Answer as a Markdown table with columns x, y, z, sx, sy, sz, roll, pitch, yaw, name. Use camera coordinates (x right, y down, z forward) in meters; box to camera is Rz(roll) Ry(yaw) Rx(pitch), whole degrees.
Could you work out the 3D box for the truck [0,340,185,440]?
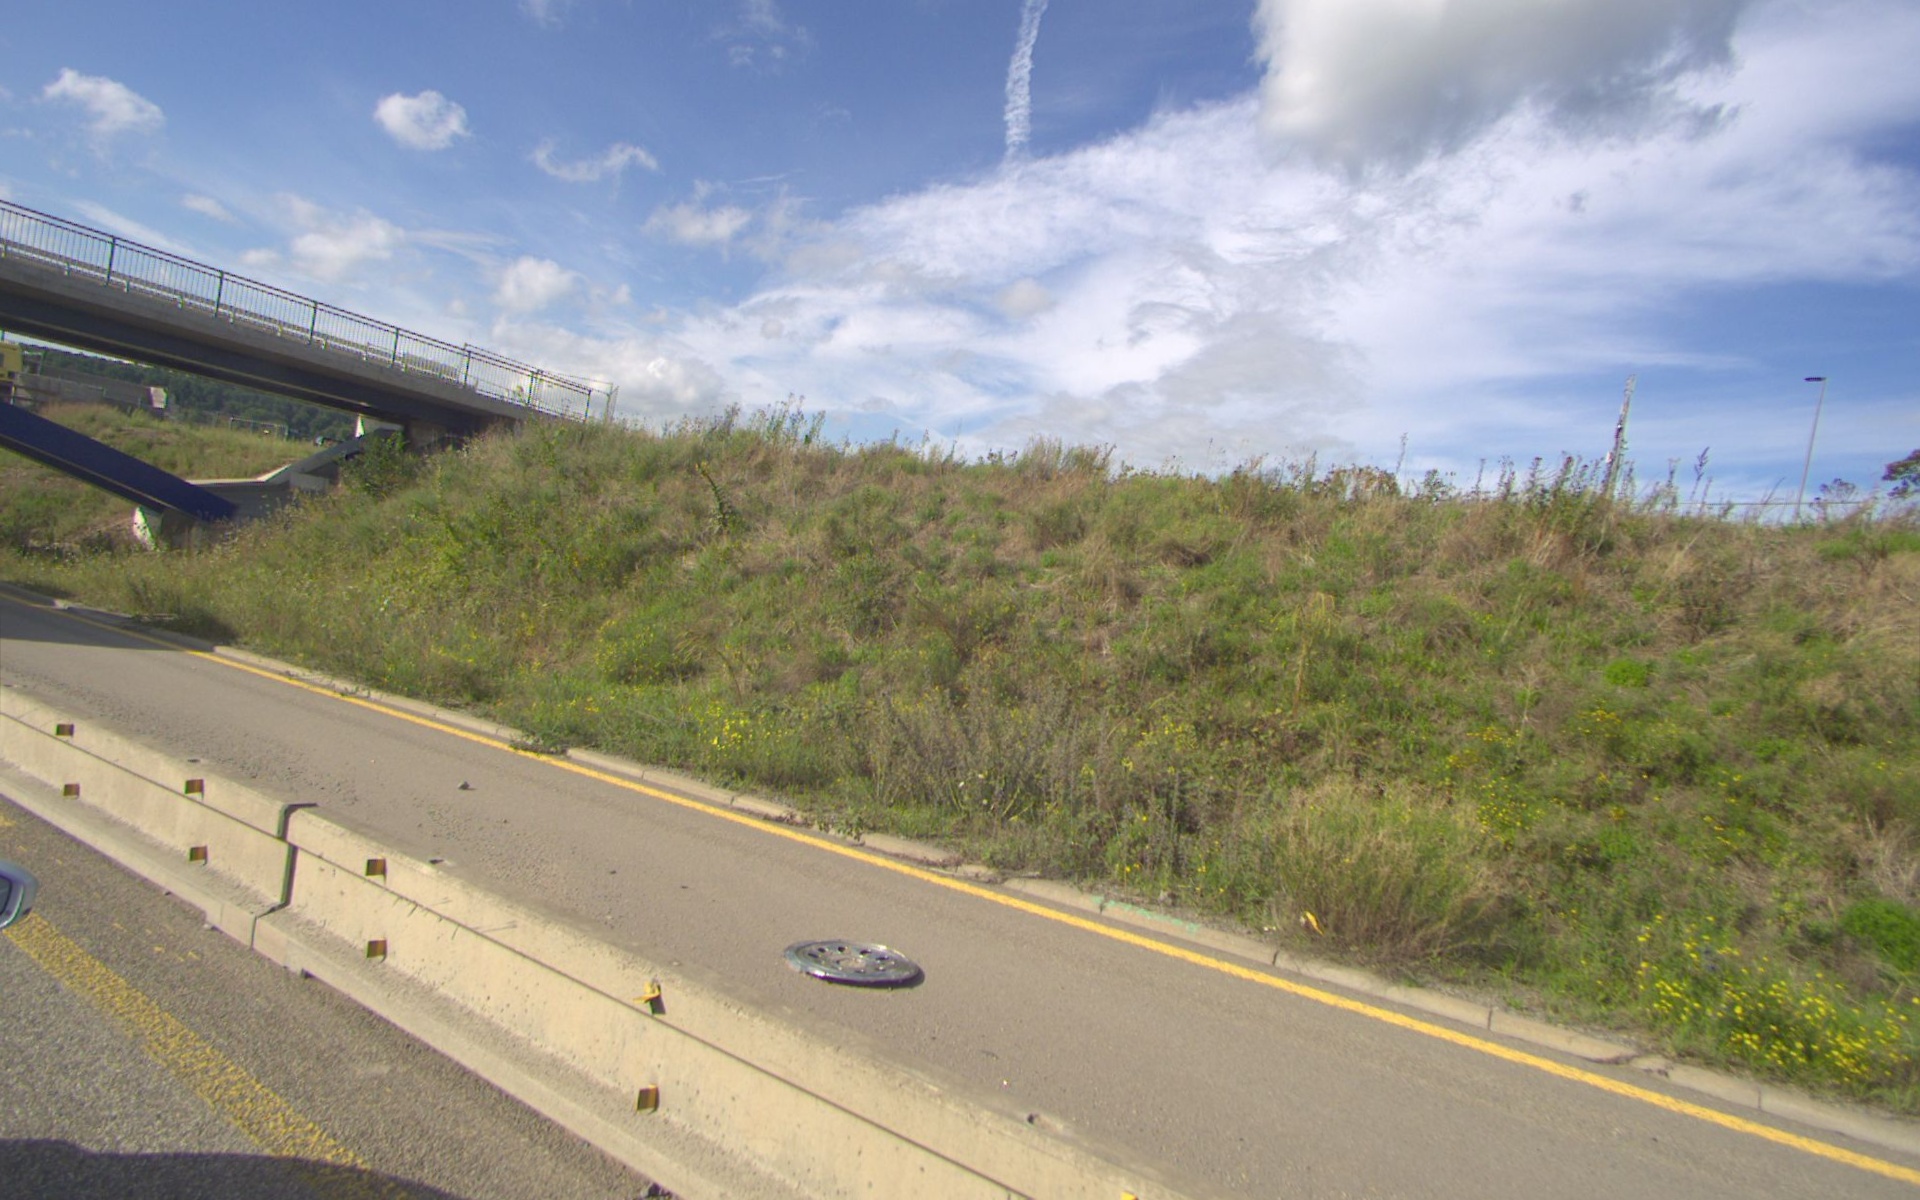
| x | y | z | sx | sy | sz | roll | pitch | yaw | name |
| --- | --- | --- | --- | --- | --- | --- | --- | --- | --- |
| -47.317 | -11.139 | 53.312 | 2.911 | 3.266 | 9.276 | 7 | -1 | 33 | truck |
